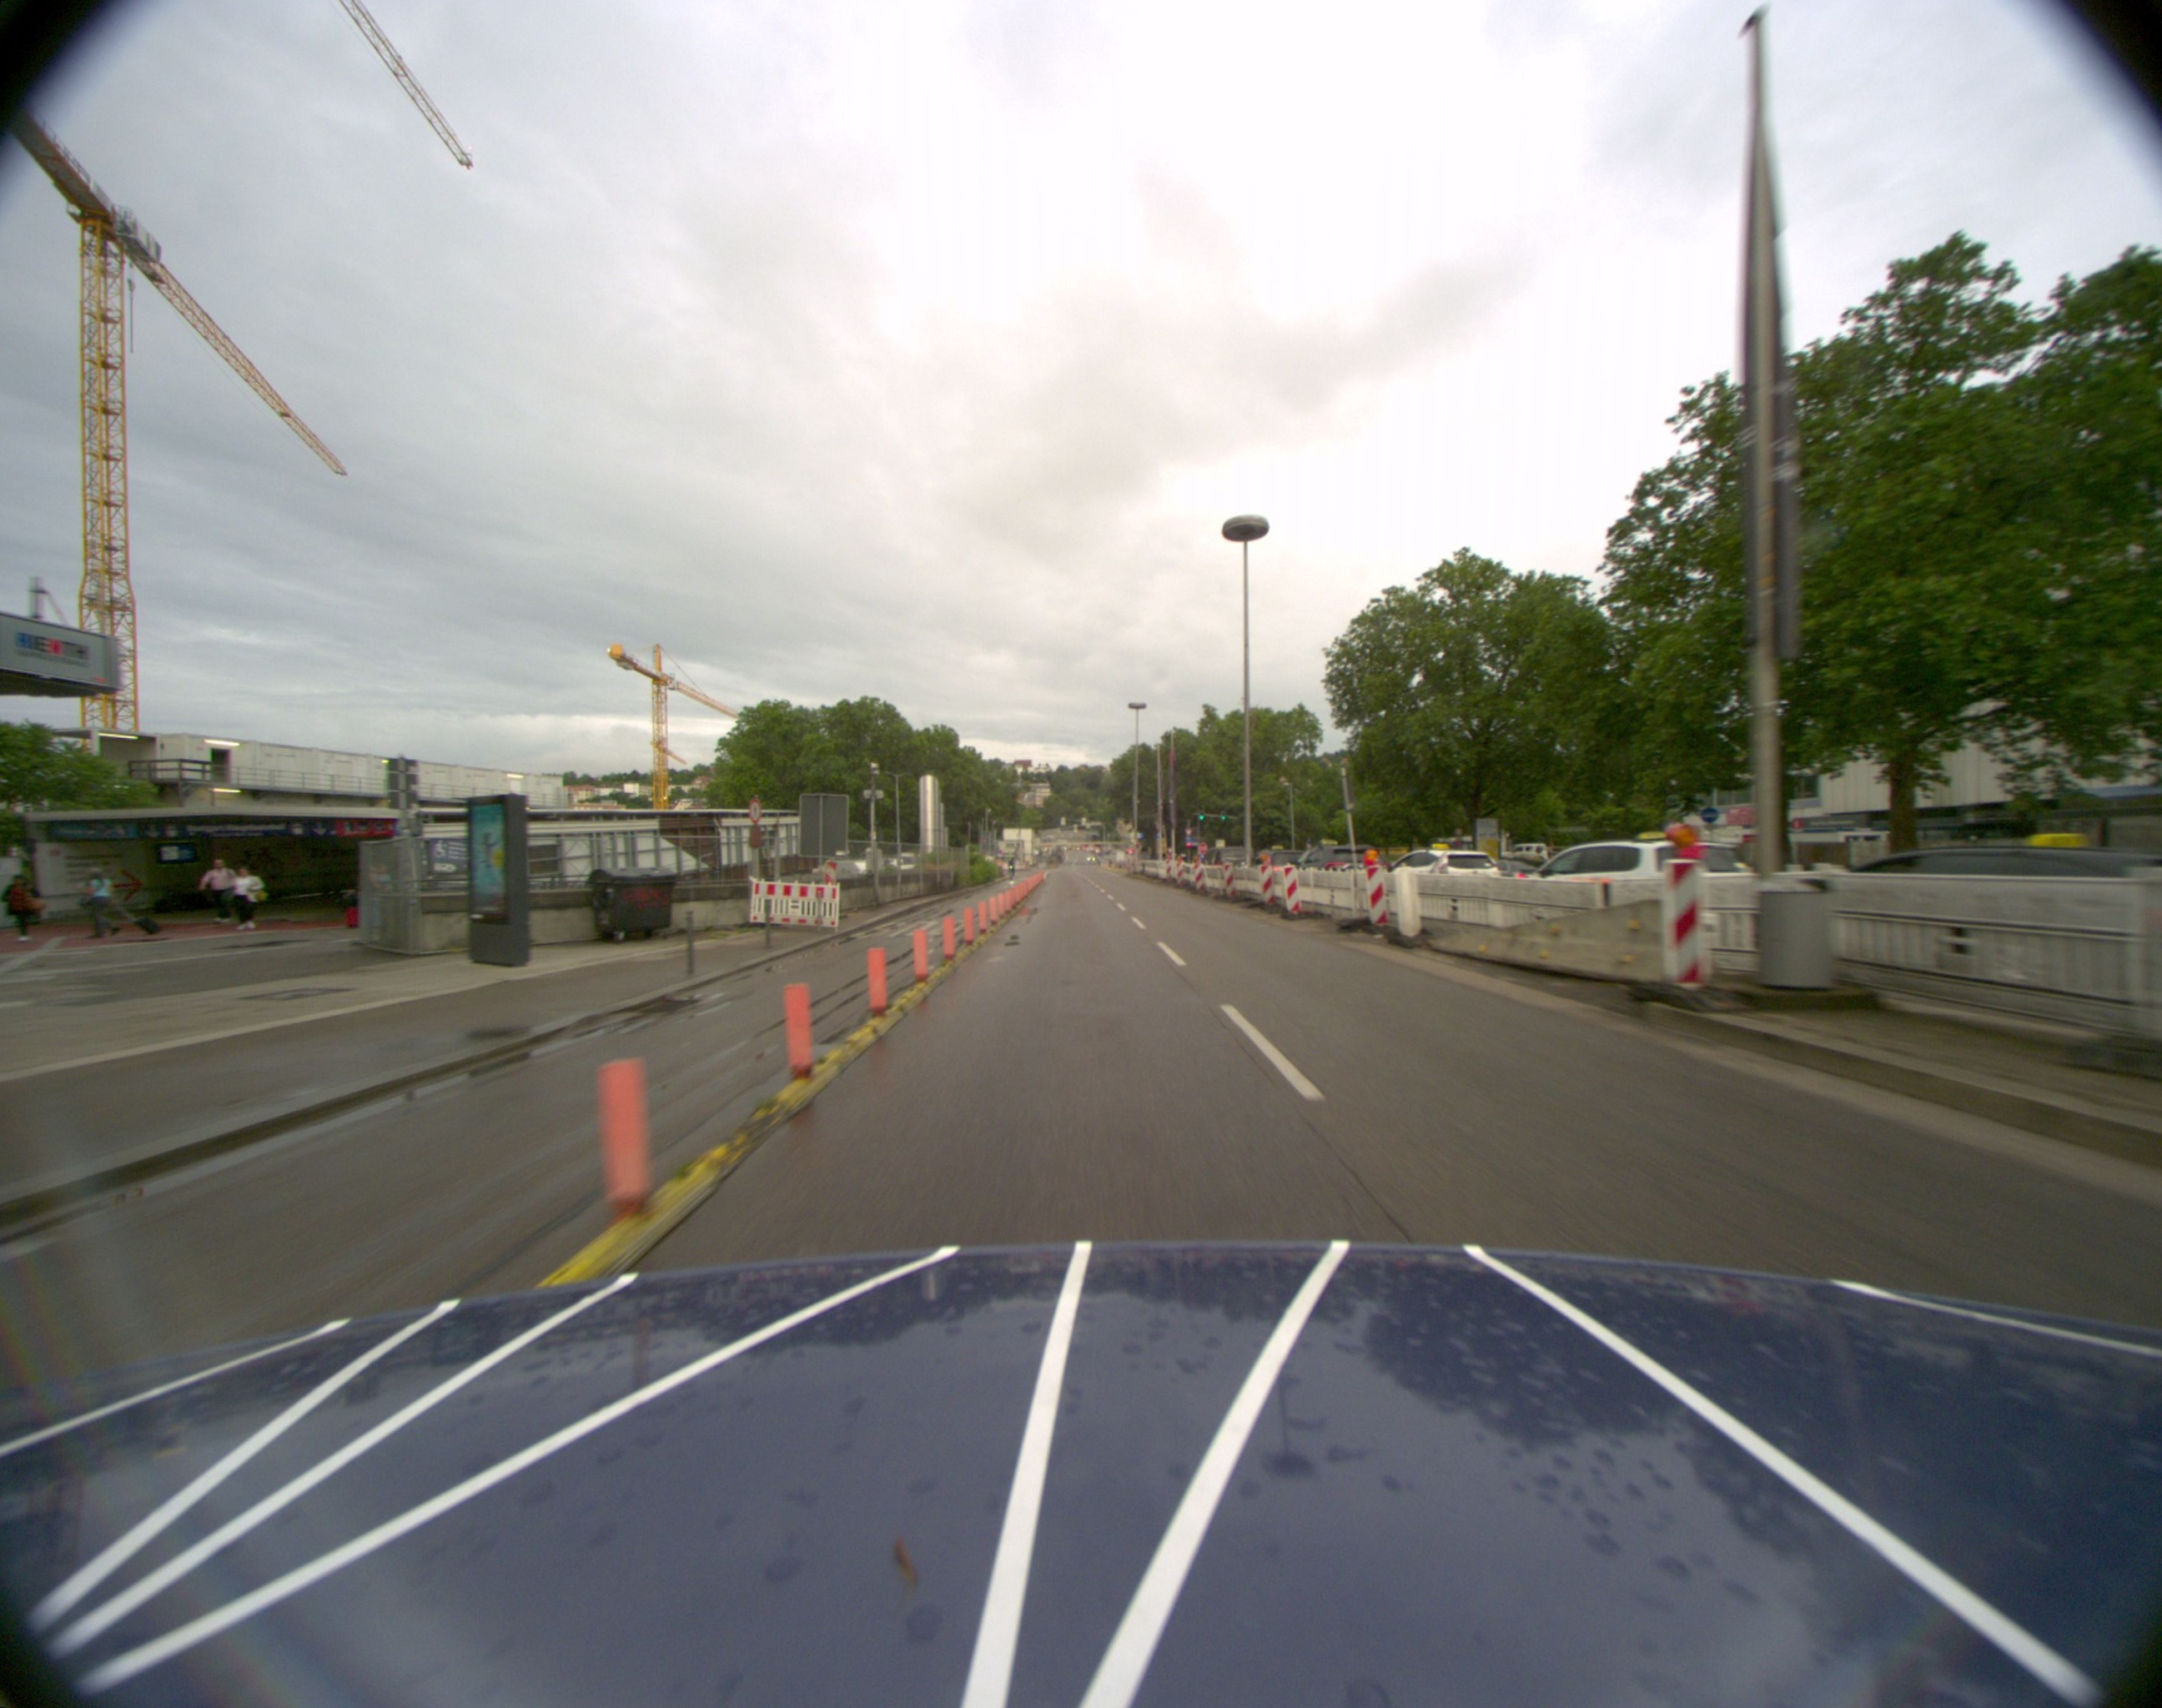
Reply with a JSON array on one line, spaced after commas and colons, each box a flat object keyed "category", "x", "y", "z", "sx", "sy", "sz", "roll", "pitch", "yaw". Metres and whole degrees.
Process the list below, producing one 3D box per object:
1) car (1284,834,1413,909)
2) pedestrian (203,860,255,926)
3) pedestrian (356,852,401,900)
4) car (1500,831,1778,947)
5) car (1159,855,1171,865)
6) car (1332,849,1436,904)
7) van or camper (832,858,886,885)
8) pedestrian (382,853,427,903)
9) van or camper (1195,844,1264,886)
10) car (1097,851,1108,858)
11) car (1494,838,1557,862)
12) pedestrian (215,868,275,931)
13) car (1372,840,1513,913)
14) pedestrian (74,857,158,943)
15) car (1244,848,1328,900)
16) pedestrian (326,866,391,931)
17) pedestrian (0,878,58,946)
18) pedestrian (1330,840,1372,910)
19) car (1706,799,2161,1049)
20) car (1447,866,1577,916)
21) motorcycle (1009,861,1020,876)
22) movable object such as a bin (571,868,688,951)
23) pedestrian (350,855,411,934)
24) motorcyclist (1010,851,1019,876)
[{"category": "car", "x": 7.099, "y": 0.463, "z": 20.739, "sx": 1.998, "sy": 1.806, "sz": 4.812, "roll": 0, "pitch": -1, "yaw": 2}, {"category": "pedestrian", "x": -24.765, "y": 1.107, "z": 22.099, "sx": 0.863, "sy": 1.865, "sz": 0.640, "roll": -1, "pitch": 1, "yaw": -34}, {"category": "pedestrian", "x": -26.605, "y": 0.818, "z": 28.794, "sx": 0.951, "sy": 1.783, "sz": 0.770, "roll": -1, "pitch": 0, "yaw": 1}, {"category": "car", "x": 9.512, "y": 0.560, "z": 13.519, "sx": 1.788, "sy": 1.712, "sz": 4.484, "roll": 0, "pitch": -1, "yaw": 2}, {"category": "car", "x": 12.565, "y": 0.902, "z": 113.621, "sx": 1.682, "sy": 1.533, "sz": 3.175, "roll": 0, "pitch": -1, "yaw": 5}, {"category": "car", "x": 10.481, "y": 0.751, "z": 26.643, "sx": 1.895, "sy": 1.692, "sz": 4.422, "roll": -2, "pitch": -1, "yaw": 1}, {"category": "van or camper", "x": -20.446, "y": 1.633, "z": 69.769, "sx": 2.391, "sy": 2.387, "sz": 6.047, "roll": 1, "pitch": -2, "yaw": -42}, {"category": "pedestrian", "x": -24.976, "y": 0.876, "z": 28.046, "sx": 0.951, "sy": 1.783, "sz": 0.770, "roll": -1, "pitch": 0, "yaw": 1}, {"category": "van or camper", "x": 6.927, "y": 0.499, "z": 36.087, "sx": 1.951, "sy": 1.809, "sz": 5.391, "roll": 1, "pitch": 0, "yaw": -3}, {"category": "car", "x": 4.945, "y": 0.097, "z": 177.721, "sx": 1.664, "sy": 1.533, "sz": 4.155, "roll": -1, "pitch": -2, "yaw": -11}, {"category": "car", "x": 42.100, "y": -0.350, "z": 72.080, "sx": 4.824, "sy": 2.001, "sz": 2.039, "roll": -3, "pitch": -1, "yaw": 21}, {"category": "pedestrian", "x": -22.338, "y": 1.192, "z": 20.314, "sx": 0.916, "sy": 1.636, "sz": 0.701, "roll": -1, "pitch": 1, "yaw": -34}, {"category": "car", "x": 10.044, "y": 0.588, "z": 21.575, "sx": 1.919, "sy": 1.840, "sz": 4.567, "roll": 0, "pitch": 0, "yaw": 1}, {"category": "pedestrian", "x": -22.957, "y": 1.064, "z": 18.090, "sx": 0.765, "sy": 2.002, "sz": 0.933, "roll": 0, "pitch": 0, "yaw": 2}, {"category": "car", "x": 7.475, "y": 0.714, "z": 28.233, "sx": 1.998, "sy": 1.760, "sz": 4.812, "roll": 0, "pitch": -1, "yaw": 2}, {"category": "pedestrian", "x": -18.316, "y": 1.113, "z": 19.282, "sx": 0.857, "sy": 1.584, "sz": 0.709, "roll": -3, "pitch": 1, "yaw": -3}, {"category": "pedestrian", "x": -24.026, "y": 1.315, "z": 17.264, "sx": 0.702, "sy": 1.498, "sz": 0.642, "roll": 0, "pitch": 0, "yaw": 3}, {"category": "pedestrian", "x": 7.924, "y": 0.604, "z": 22.329, "sx": 0.878, "sy": 2.002, "sz": 0.821, "roll": -1, "pitch": 0, "yaw": -1}, {"category": "car", "x": 9.191, "y": 0.519, "z": 7.794, "sx": 1.907, "sy": 1.887, "sz": 4.524, "roll": -2, "pitch": -1, "yaw": 2}, {"category": "car", "x": 14.318, "y": 1.179, "z": 25.557, "sx": 1.999, "sy": 1.433, "sz": 3.999, "roll": -2, "pitch": 0, "yaw": -1}, {"category": "motorcycle", "x": -5.372, "y": 1.168, "z": 61.575, "sx": 0.730, "sy": 1.221, "sz": 2.161, "roll": 0, "pitch": -1, "yaw": -2}, {"category": "movable object such as a bin", "x": -8.840, "y": 1.036, "z": 14.912, "sx": 1.299, "sy": 1.483, "sz": 1.537, "roll": 0, "pitch": 0, "yaw": 33}, {"category": "pedestrian", "x": -18.582, "y": 1.058, "z": 20.171, "sx": 0.806, "sy": 2.002, "sz": 0.765, "roll": -3, "pitch": 1, "yaw": -3}, {"category": "motorcyclist", "x": -5.365, "y": 0.745, "z": 61.523, "sx": 0.726, "sy": 2.024, "sz": 0.587, "roll": 0, "pitch": -1, "yaw": -2}]
